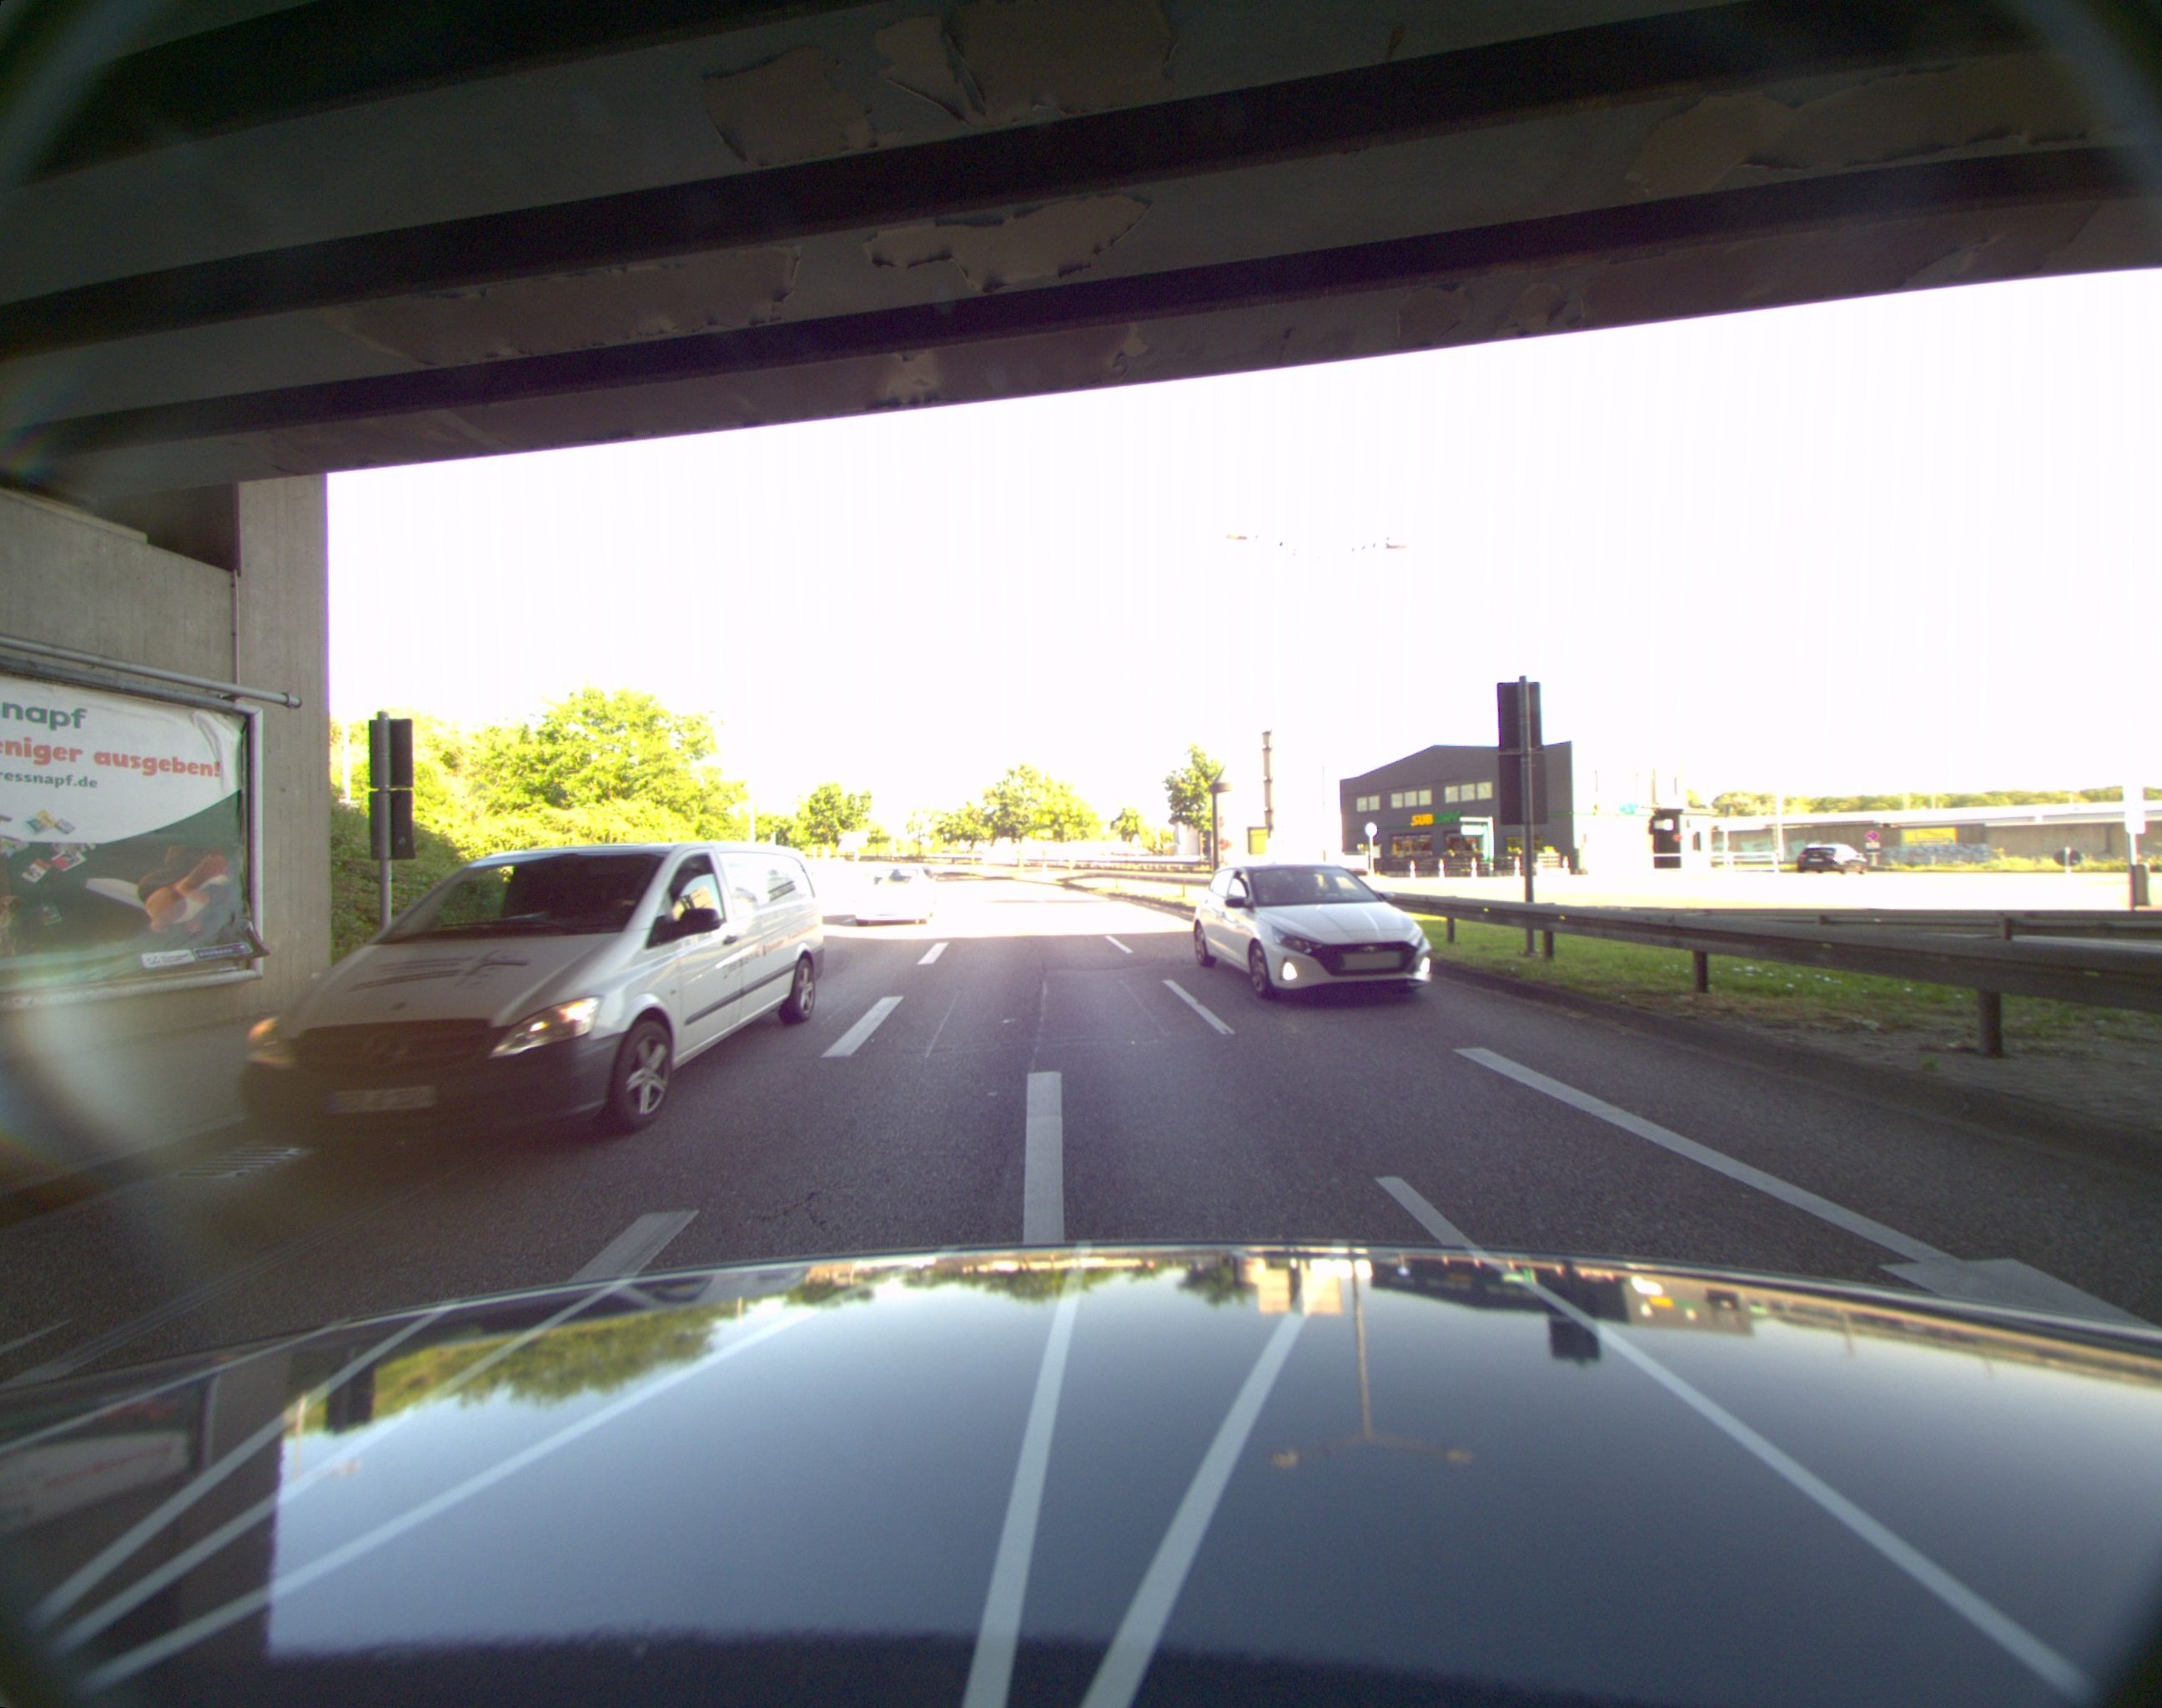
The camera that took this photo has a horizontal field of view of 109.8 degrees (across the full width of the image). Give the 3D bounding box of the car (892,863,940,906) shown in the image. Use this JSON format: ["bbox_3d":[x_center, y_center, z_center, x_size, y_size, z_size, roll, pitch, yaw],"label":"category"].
[{"bbox_3d":[-7.222,1.257,32.971,1.781,1.591,4.099,-3,1,-15],"label":"car"}]

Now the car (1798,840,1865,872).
[{"bbox_3d":[38.484,0.095,38.939,4.007,1.434,1.878,-3,1,-37],"label":"car"}]

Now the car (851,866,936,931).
[{"bbox_3d":[-5.317,1.198,22.070,2.000,1.542,4.417,-2,0,-9],"label":"car"}]

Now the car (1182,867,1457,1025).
[{"bbox_3d":[2.552,0.899,9.181,1.737,1.395,3.869,-2,0,-6],"label":"car"}]

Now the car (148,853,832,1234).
[{"bbox_3d":[-3.735,0.947,6.231,1.903,1.825,4.834,-2,0,-2],"label":"car"}]
